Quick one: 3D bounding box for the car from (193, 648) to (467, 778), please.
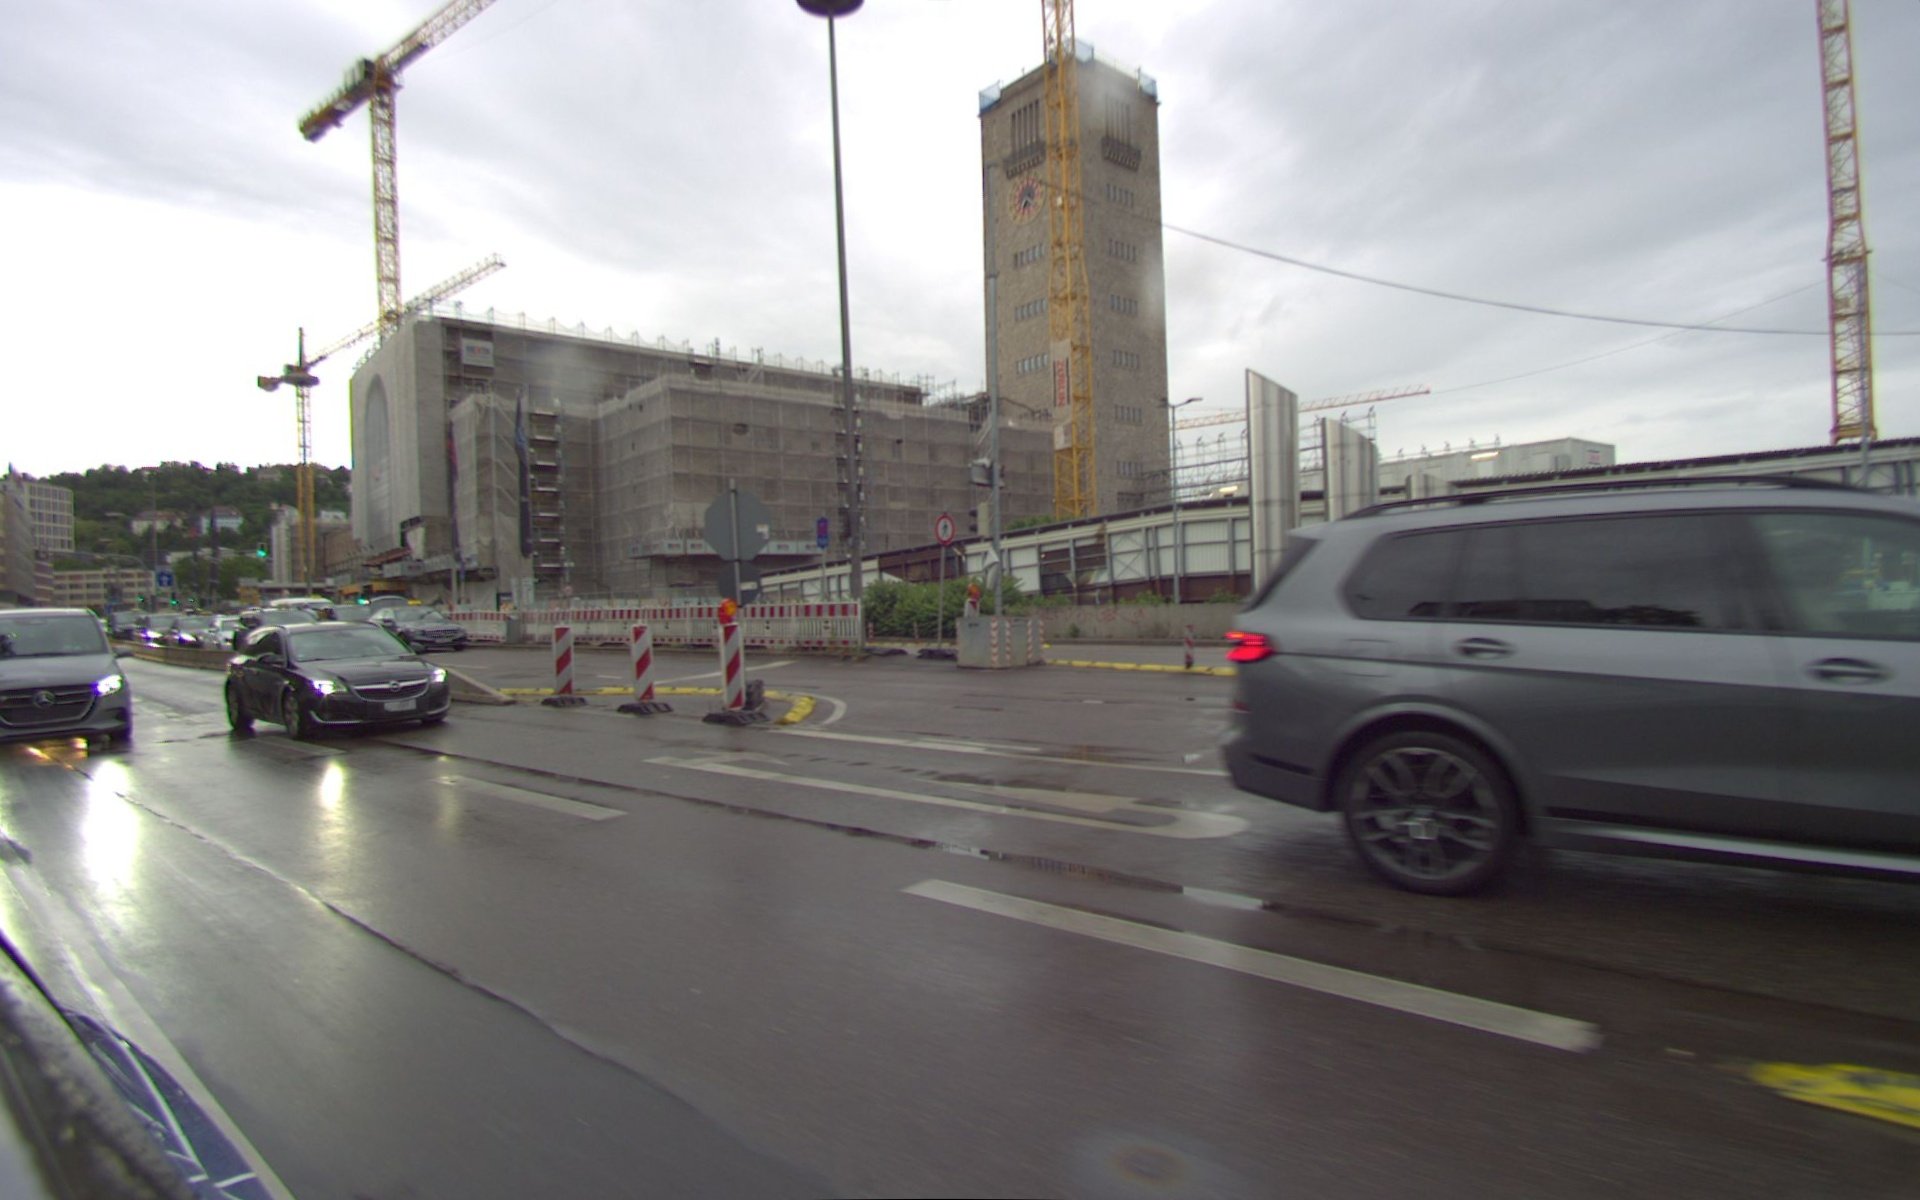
[{"bbox_3d":[-8.904,1.431,14.108,4.914,1.475,1.790,-2,-3,40],"label":"car"}]

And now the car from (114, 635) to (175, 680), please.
[{"bbox_3d":[-39.465,2.756,48.954,1.970,2.029,4.003,0,-1,-44],"label":"car"}]

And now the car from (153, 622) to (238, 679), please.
[{"bbox_3d":[-30.579,1.992,40.421,4.714,2.130,1.972,-3,-2,43],"label":"car"}]

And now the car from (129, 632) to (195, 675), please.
[{"bbox_3d":[-35.335,2.338,44.767,1.970,1.729,4.760,-1,-1,-43],"label":"car"}]

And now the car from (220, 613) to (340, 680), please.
[{"bbox_3d":[-20.339,1.350,30.216,4.292,1.828,1.972,-2,-1,42],"label":"car"}]

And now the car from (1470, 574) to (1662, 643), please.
[{"bbox_3d":[19.937,0.294,33.484,4.962,2.029,1.997,-2,-1,5],"label":"car"}]

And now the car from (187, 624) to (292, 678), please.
[{"bbox_3d":[-24.466,1.716,34.297,4.901,1.667,1.972,-3,-2,43],"label":"car"}]

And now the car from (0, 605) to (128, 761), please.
[{"bbox_3d":[-13.574,1.151,14.685,1.970,1.870,5.363,-3,0,-42],"label":"car"}]

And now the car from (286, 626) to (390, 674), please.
[{"bbox_3d":[-22.441,1.785,36.457,3.999,1.585,2.144,-2,-2,42],"label":"car"}]

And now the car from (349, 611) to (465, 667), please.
[{"bbox_3d":[-17.608,1.234,32.142,4.572,1.665,1.808,-2,-2,41],"label":"car"}]

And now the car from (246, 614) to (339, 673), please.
[{"bbox_3d":[-26.987,1.747,40.868,4.996,2.224,1.977,-2,-2,42],"label":"car"}]

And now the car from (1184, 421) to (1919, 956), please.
[{"bbox_3d":[3.846,0.289,4.539,5.063,1.877,2.190,-2,0,36],"label":"car"}]
